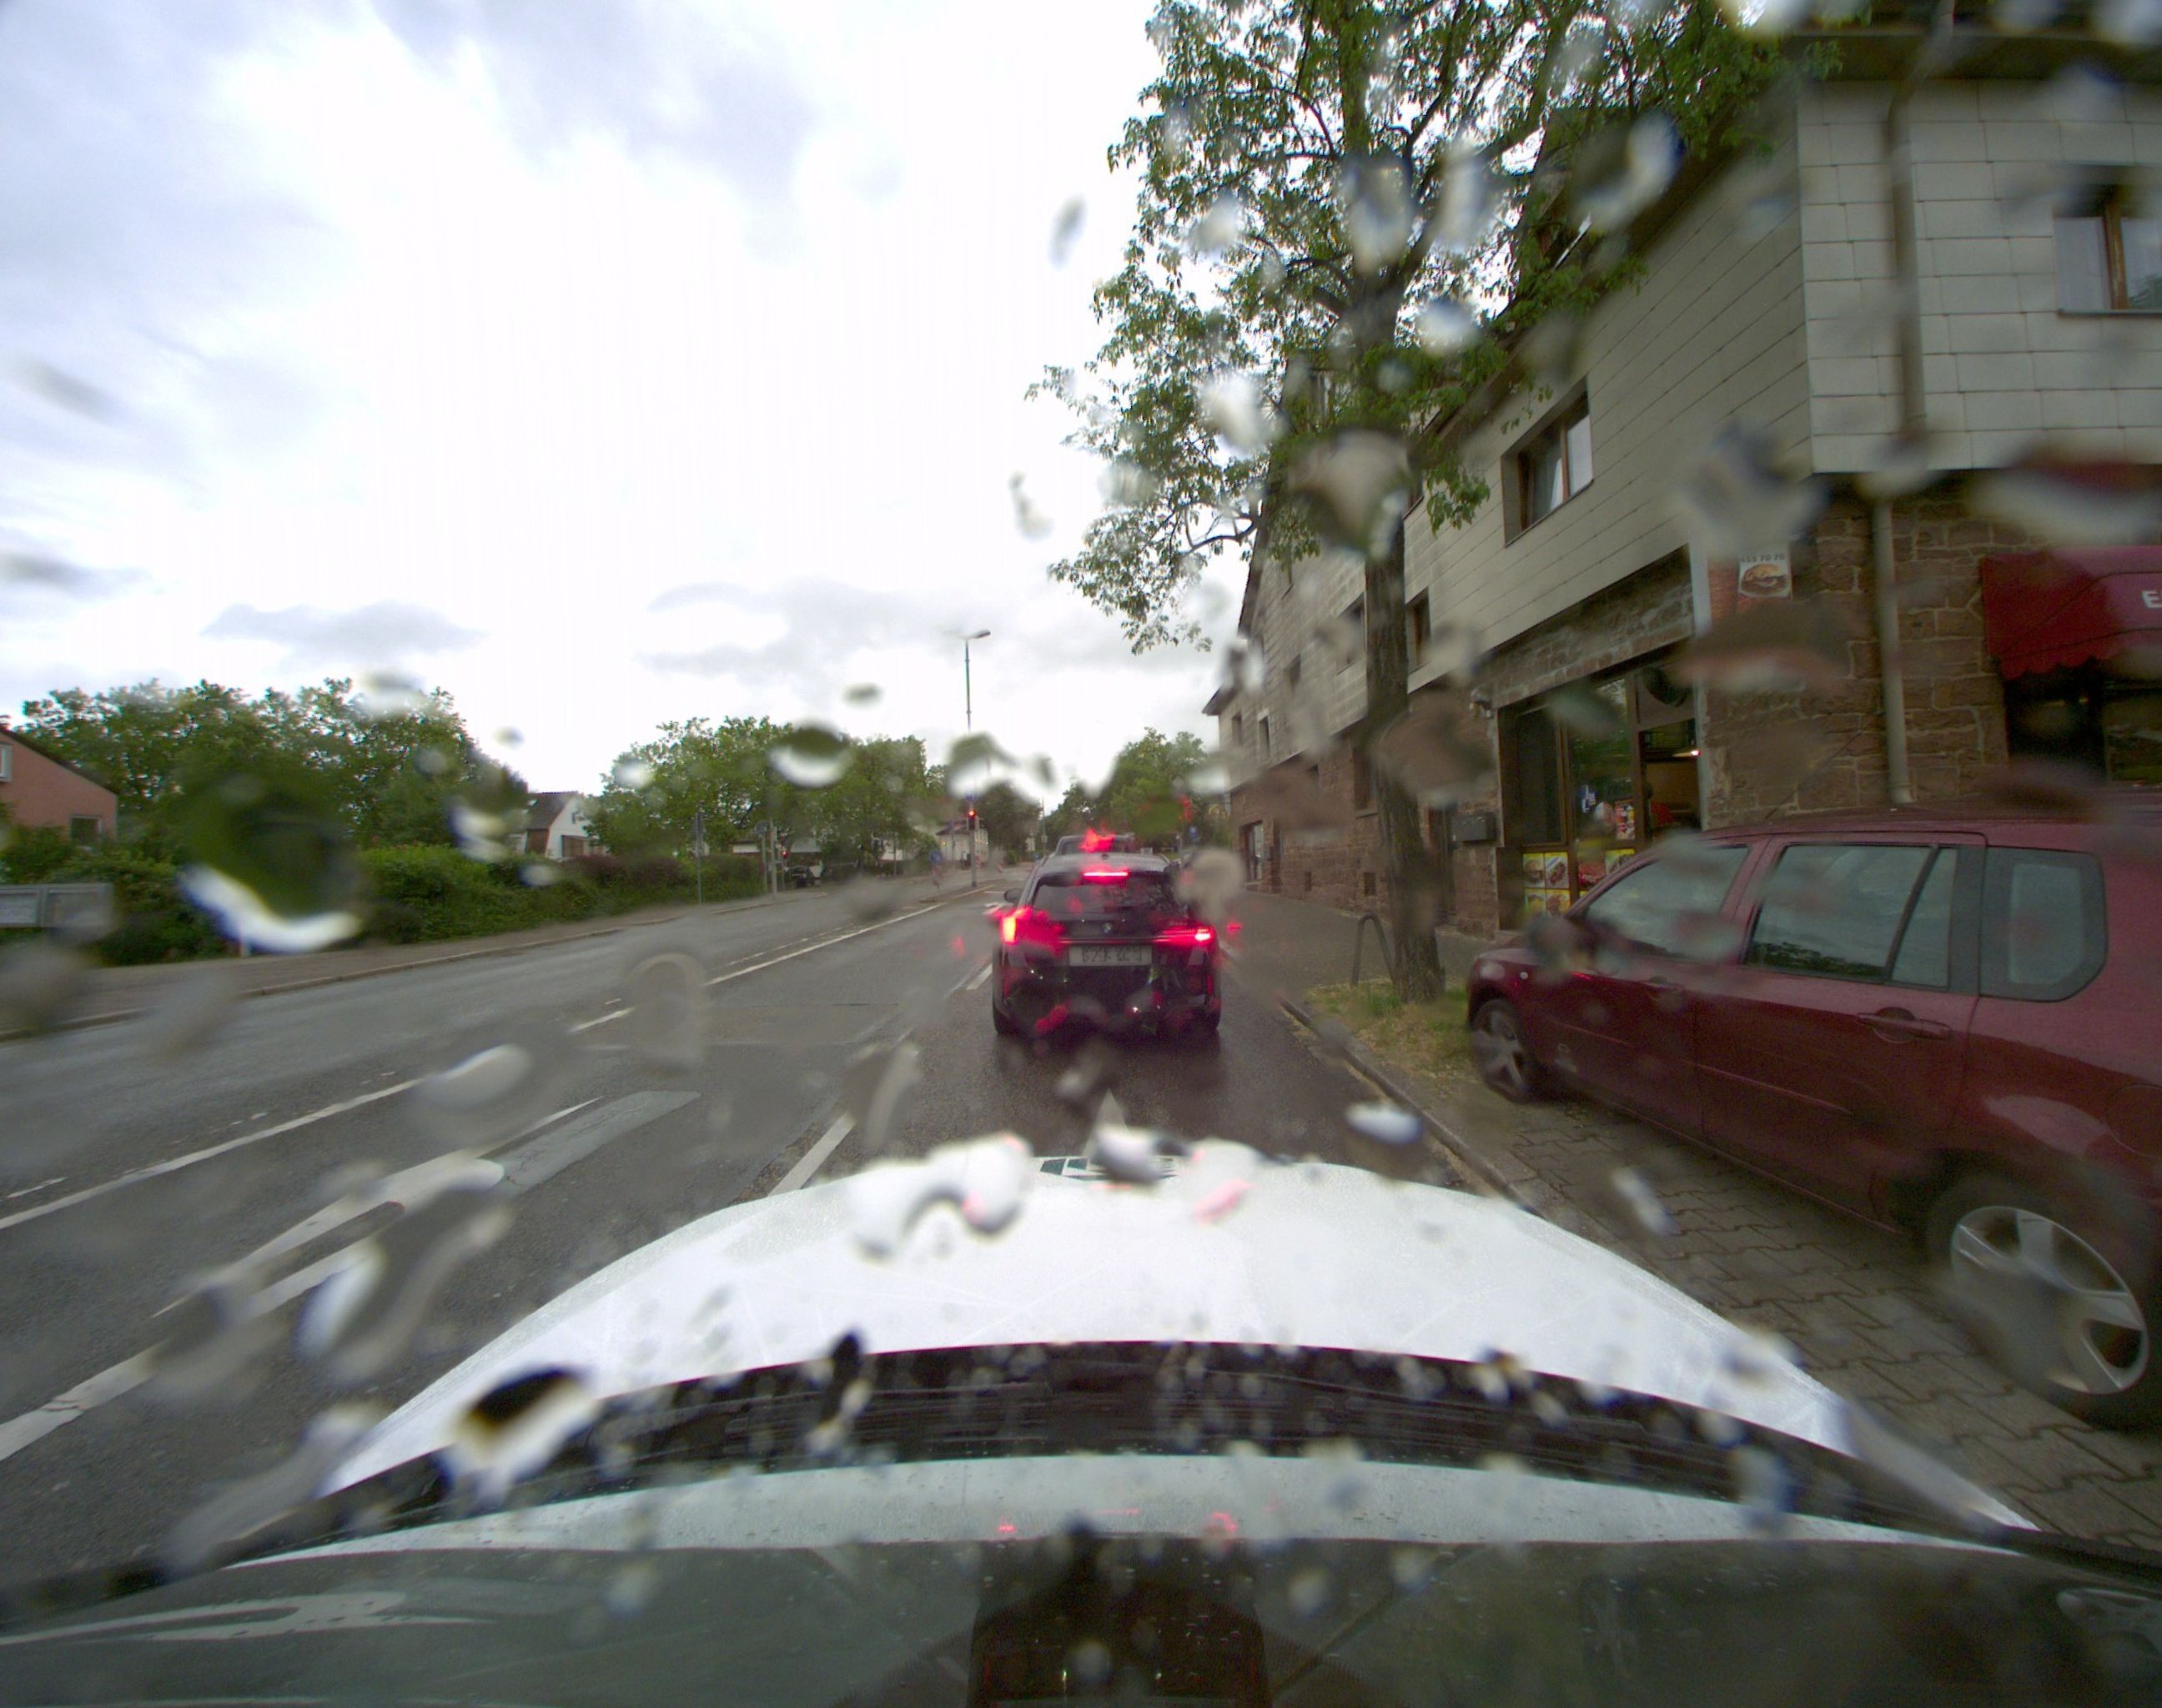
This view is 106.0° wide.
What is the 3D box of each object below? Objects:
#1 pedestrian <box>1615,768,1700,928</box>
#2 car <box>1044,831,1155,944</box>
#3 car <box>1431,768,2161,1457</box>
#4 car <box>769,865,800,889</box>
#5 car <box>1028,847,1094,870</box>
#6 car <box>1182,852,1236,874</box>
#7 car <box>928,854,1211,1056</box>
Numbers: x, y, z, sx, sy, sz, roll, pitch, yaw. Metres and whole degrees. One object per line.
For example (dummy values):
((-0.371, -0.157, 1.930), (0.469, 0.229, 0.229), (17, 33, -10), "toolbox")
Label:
((6.852, -0.074, 9.697), (0.635, 1.839, 0.483), (-2, 0, 1), "pedestrian")
((0.302, 0.545, 15.457), (1.778, 1.817, 3.999), (-2, 0, 0), "car")
((3.068, 0.502, 3.282), (1.580, 1.490, 3.625), (-5, 1, -2), "car")
((-21.233, 1.622, 58.427), (2.000, 1.552, 3.973), (-2, 0, -20), "car")
((-1.488, 0.311, 59.810), (4.479, 1.587, 2.059), (-1, 0, -17), "car")
((9.633, 0.642, 61.574), (3.920, 1.510, 2.004), (-1, 0, 7), "car")
((-0.102, 0.737, 8.230), (2.058, 1.446, 4.481), (-1, 0, -1), "car")
